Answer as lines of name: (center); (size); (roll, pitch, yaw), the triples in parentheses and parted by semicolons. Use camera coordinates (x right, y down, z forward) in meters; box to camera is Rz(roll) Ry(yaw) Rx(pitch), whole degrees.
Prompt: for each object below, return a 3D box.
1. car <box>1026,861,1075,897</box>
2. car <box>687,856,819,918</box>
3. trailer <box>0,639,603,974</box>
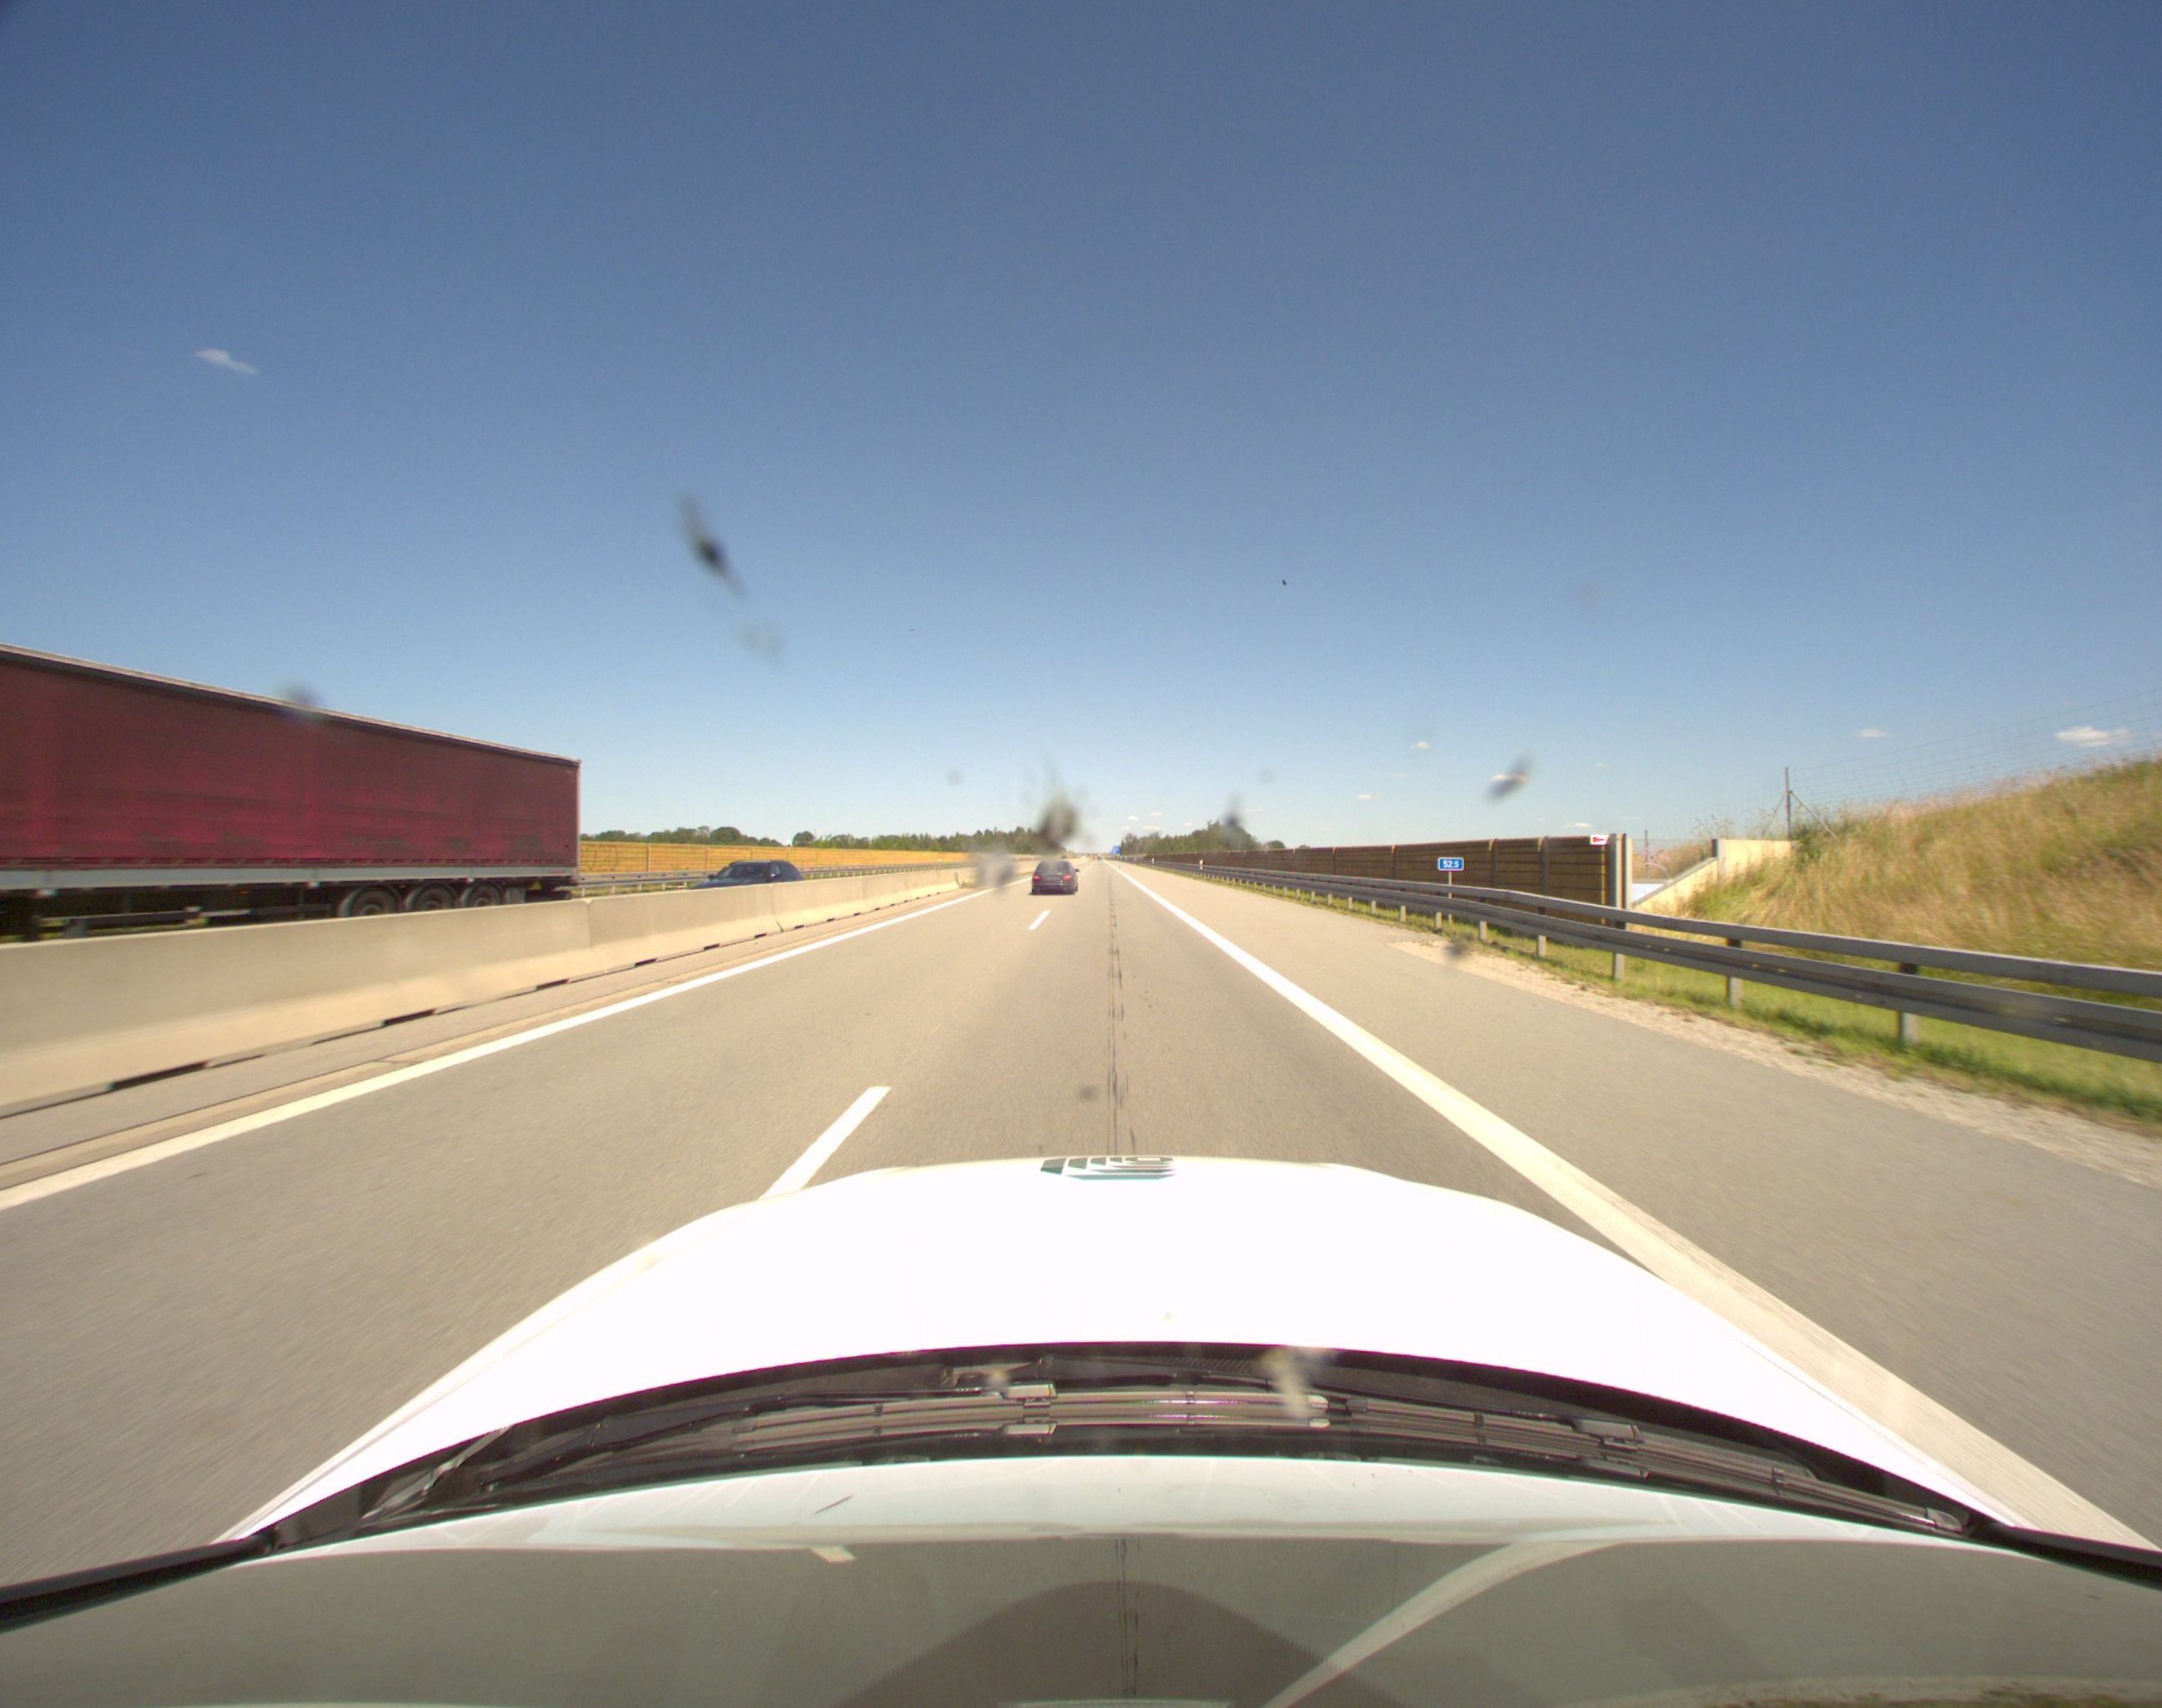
car: (-1.198, 0.979, 33.630); (1.783, 1.374, 3.918); (0, 0, 2)
car: (-9.154, 0.854, 23.191); (1.790, 1.593, 4.659); (0, 0, 1)
trailer: (-13.779, -0.502, 14.267); (2.629, 3.875, 13.734); (0, 0, 0)
